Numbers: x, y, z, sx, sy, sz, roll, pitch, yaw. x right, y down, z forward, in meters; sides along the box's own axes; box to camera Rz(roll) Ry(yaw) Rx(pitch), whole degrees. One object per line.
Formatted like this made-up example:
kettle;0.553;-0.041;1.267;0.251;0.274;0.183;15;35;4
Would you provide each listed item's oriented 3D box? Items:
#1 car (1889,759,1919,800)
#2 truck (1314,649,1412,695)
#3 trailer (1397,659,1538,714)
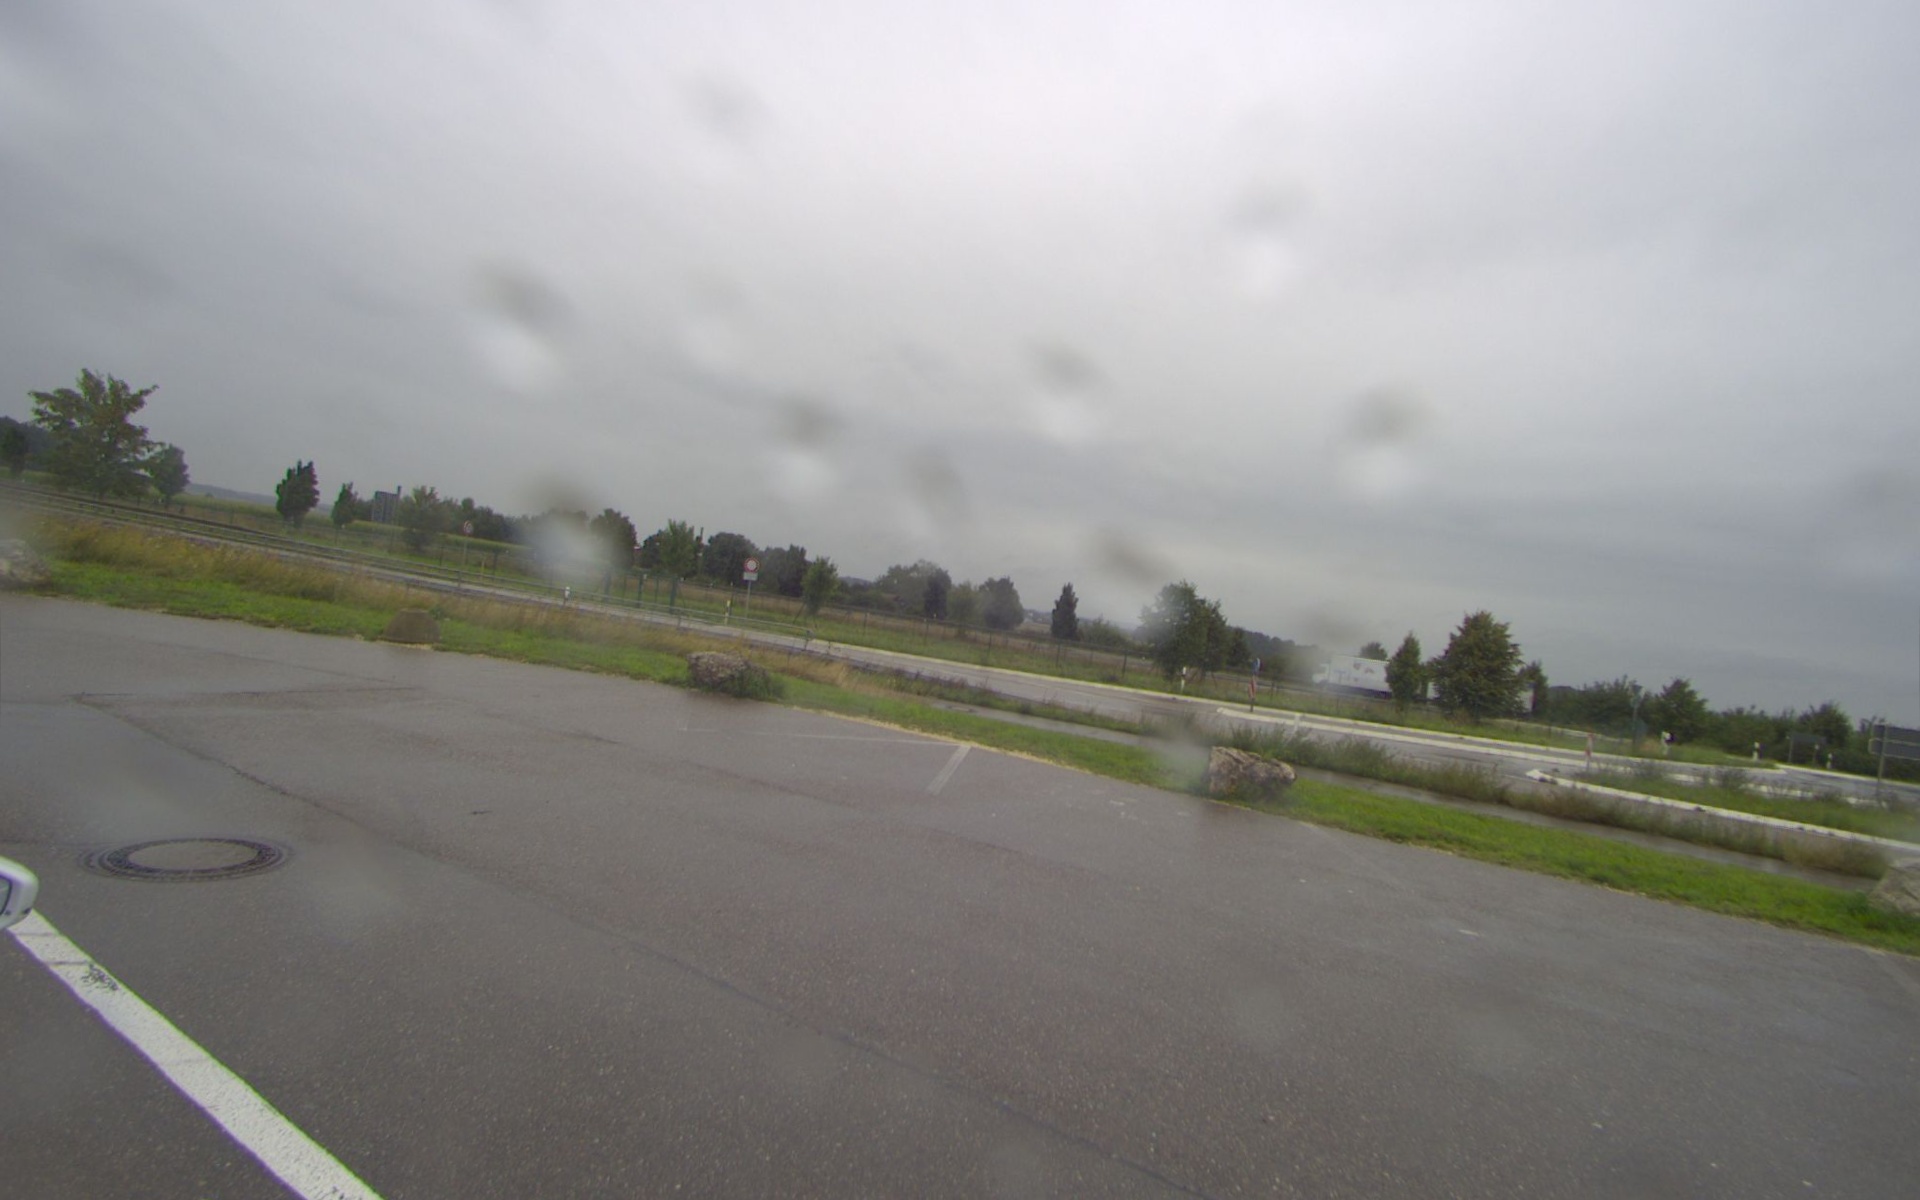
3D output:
car;37.204;6.994;37.136;1.724;1.341;4.308;6;0;1
truck;35.768;6.340;89.590;2.170;2.942;7.701;9;-1;-41
trailer;41.554;7.017;82.855;2.193;2.936;10.025;9;-1;-41
